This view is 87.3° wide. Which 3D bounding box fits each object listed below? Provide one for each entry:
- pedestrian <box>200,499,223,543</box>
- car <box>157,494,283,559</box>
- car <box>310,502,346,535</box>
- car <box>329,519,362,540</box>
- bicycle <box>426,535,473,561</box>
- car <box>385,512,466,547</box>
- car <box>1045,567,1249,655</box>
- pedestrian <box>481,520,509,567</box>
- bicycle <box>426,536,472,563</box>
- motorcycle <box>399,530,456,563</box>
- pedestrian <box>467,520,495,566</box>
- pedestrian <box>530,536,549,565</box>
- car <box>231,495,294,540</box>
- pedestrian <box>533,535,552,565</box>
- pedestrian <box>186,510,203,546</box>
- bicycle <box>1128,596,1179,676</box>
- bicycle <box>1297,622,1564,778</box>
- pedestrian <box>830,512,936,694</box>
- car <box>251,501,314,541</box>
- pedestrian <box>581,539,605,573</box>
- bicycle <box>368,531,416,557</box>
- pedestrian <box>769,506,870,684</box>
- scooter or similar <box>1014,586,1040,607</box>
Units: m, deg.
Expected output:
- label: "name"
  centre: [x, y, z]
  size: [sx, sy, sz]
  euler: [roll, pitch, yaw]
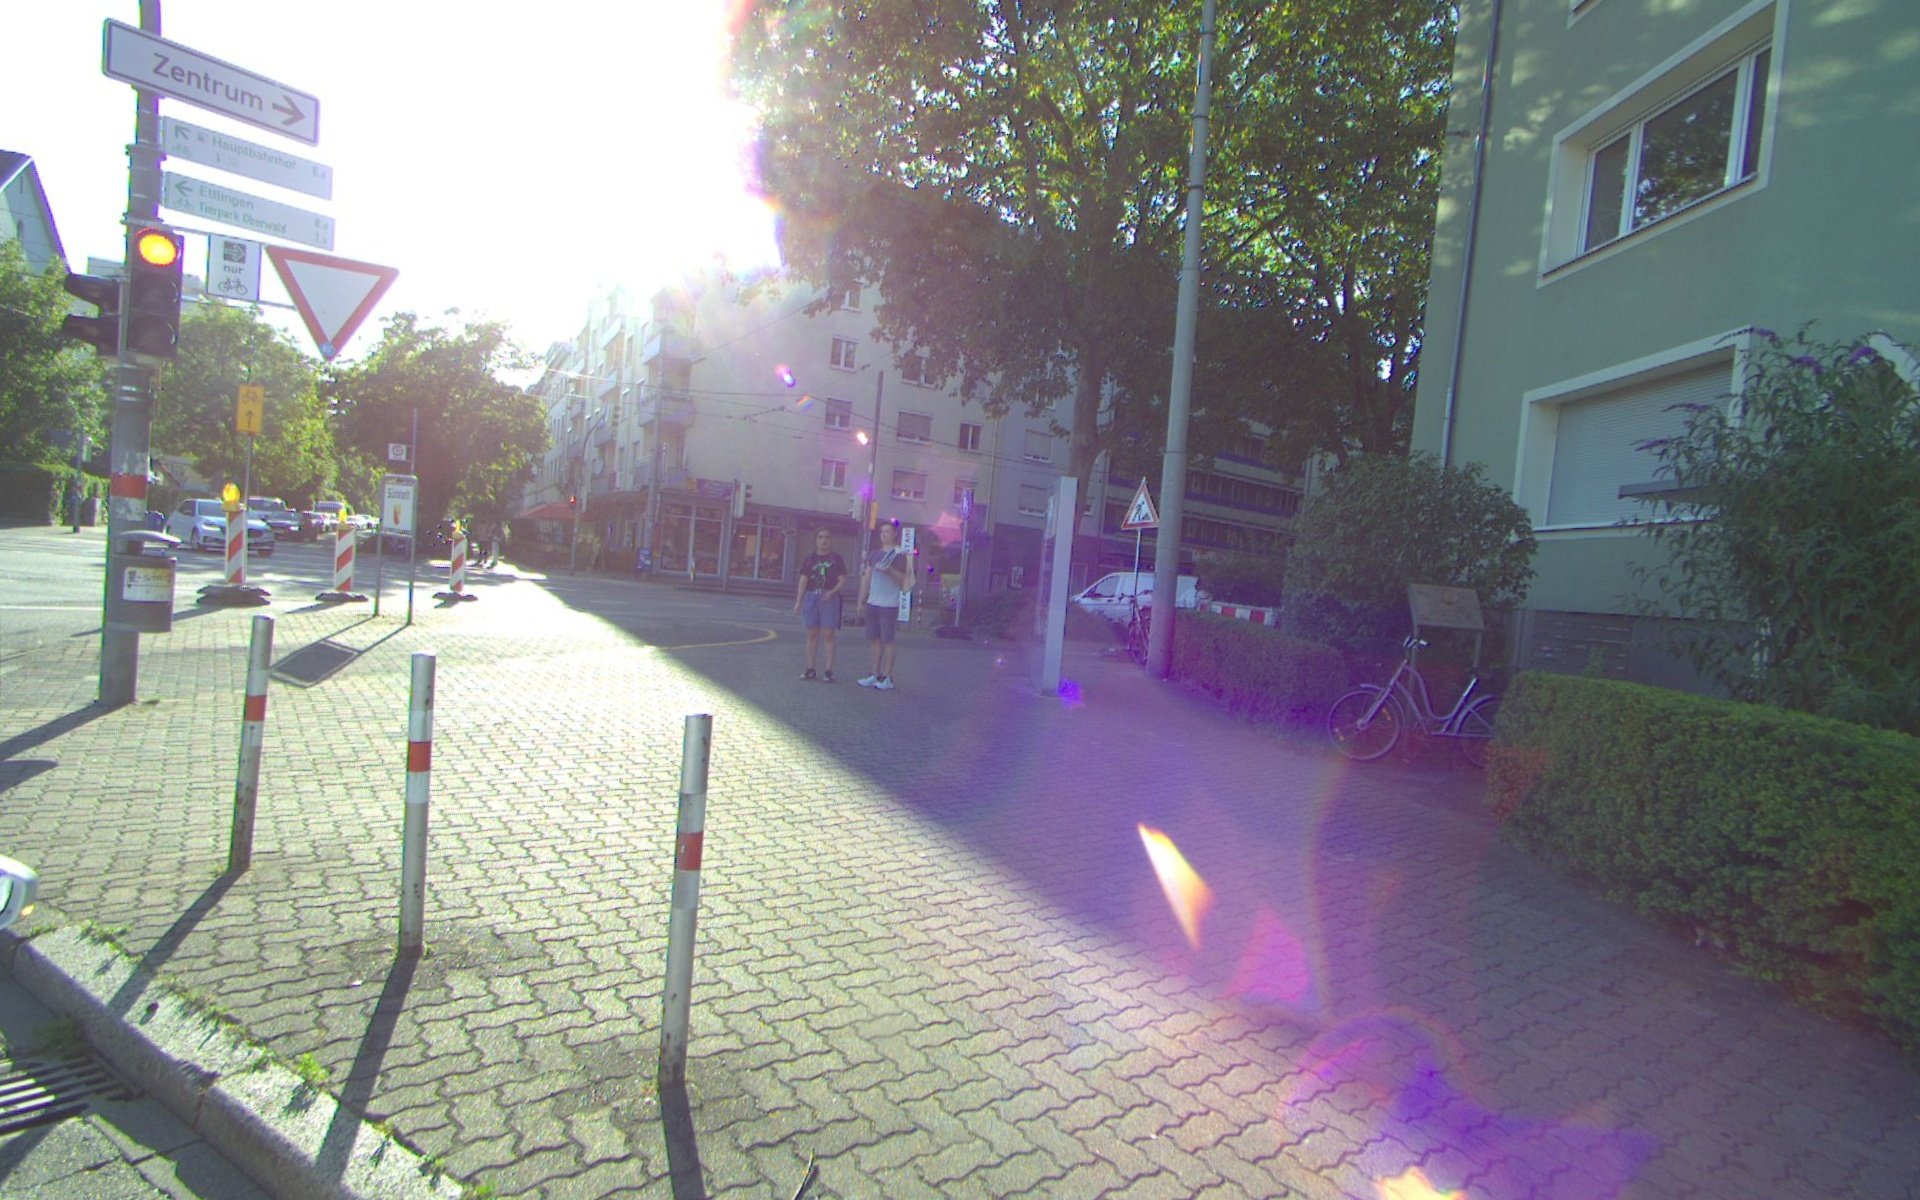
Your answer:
- label: "pedestrian"
  centre: [-33.484, -3.533, 45.005]
  size: [0.656, 1.864, 0.677]
  euler: [4, 3, -30]
- label: "car"
  centre: [-20.482, -2.044, 27.783]
  size: [3.941, 1.507, 1.886]
  euler: [7, 5, 39]
- label: "car"
  centre: [-54.396, -6.990, 86.635]
  size: [2.336, 2.548, 5.265]
  euler: [4, 2, -31]
- label: "car"
  centre: [-61.538, -7.073, 100.806]
  size: [2.333, 1.818, 5.271]
  euler: [5, 2, -28]
- label: "bicycle"
  centre: [-21.608, -2.193, 42.607]
  size: [1.708, 0.945, 0.557]
  euler: [5, 2, -29]
- label: "car"
  centre: [-39.357, -5.159, 74.118]
  size: [5.050, 1.948, 2.344]
  euler: [5, 0, -32]
- label: "car"
  centre: [4.706, 0.226, 26.133]
  size: [1.913, 1.849, 5.185]
  euler: [5, 0, -37]
- label: "pedestrian"
  centre: [-18.546, -2.233, 40.112]
  size: [0.681, 1.774, 0.793]
  euler: [5, 2, -7]
- label: "bicycle"
  centre: [-21.978, -2.170, 43.278]
  size: [1.708, 0.945, 0.557]
  euler: [5, 2, -29]
- label: "motorcycle"
  centre: [-21.647, -2.167, 40.883]
  size: [1.938, 1.124, 0.829]
  euler: [4, 2, -34]
- label: "pedestrian"
  centre: [-19.405, -2.293, 40.788]
  size: [0.706, 1.774, 0.793]
  euler: [5, 2, -7]
- label: "pedestrian"
  centre: [-21.466, -2.530, 51.360]
  size: [0.803, 1.381, 0.908]
  euler: [4, 2, -23]
- label: "car"
  centre: [-37.336, -4.403, 53.987]
  size: [2.336, 2.040, 5.265]
  euler: [4, 2, -31]
- label: "pedestrian"
  centre: [-20.827, -2.490, 50.204]
  size: [0.803, 1.381, 0.908]
  euler: [4, 2, -23]
- label: "pedestrian"
  centre: [-38.481, -3.616, 50.564]
  size: [0.575, 1.754, 0.602]
  euler: [4, 3, -34]
- label: "bicycle"
  centre: [2.860, 0.498, 15.004]
  size: [0.511, 1.071, 1.933]
  euler: [6, 2, 7]
- label: "bicycle"
  centre: [3.948, 0.826, 8.550]
  size: [1.897, 1.071, 0.521]
  euler: [6, 2, 5]
- label: "pedestrian"
  centre: [-0.797, 0.029, 10.523]
  size: [0.680, 1.774, 0.794]
  euler: [6, 2, 21]
- label: "car"
  centre: [-31.962, -3.715, 47.546]
  size: [1.877, 1.584, 4.360]
  euler: [6, 1, -28]
- label: "pedestrian"
  centre: [-17.718, -2.141, 48.596]
  size: [0.806, 1.565, 0.905]
  euler: [3, 3, -35]
- label: "bicycle"
  centre: [-23.707, -2.337, 42.015]
  size: [1.708, 0.945, 0.667]
  euler: [5, 2, -29]
- label: "pedestrian"
  centre: [-1.480, -0.054, 10.726]
  size: [0.680, 1.774, 0.794]
  euler: [6, 2, 13]
- label: "scooter or similar"
  centre: [3.471, -0.194, 52.164]
  size: [1.421, 0.966, 0.462]
  euler: [4, 3, -44]
